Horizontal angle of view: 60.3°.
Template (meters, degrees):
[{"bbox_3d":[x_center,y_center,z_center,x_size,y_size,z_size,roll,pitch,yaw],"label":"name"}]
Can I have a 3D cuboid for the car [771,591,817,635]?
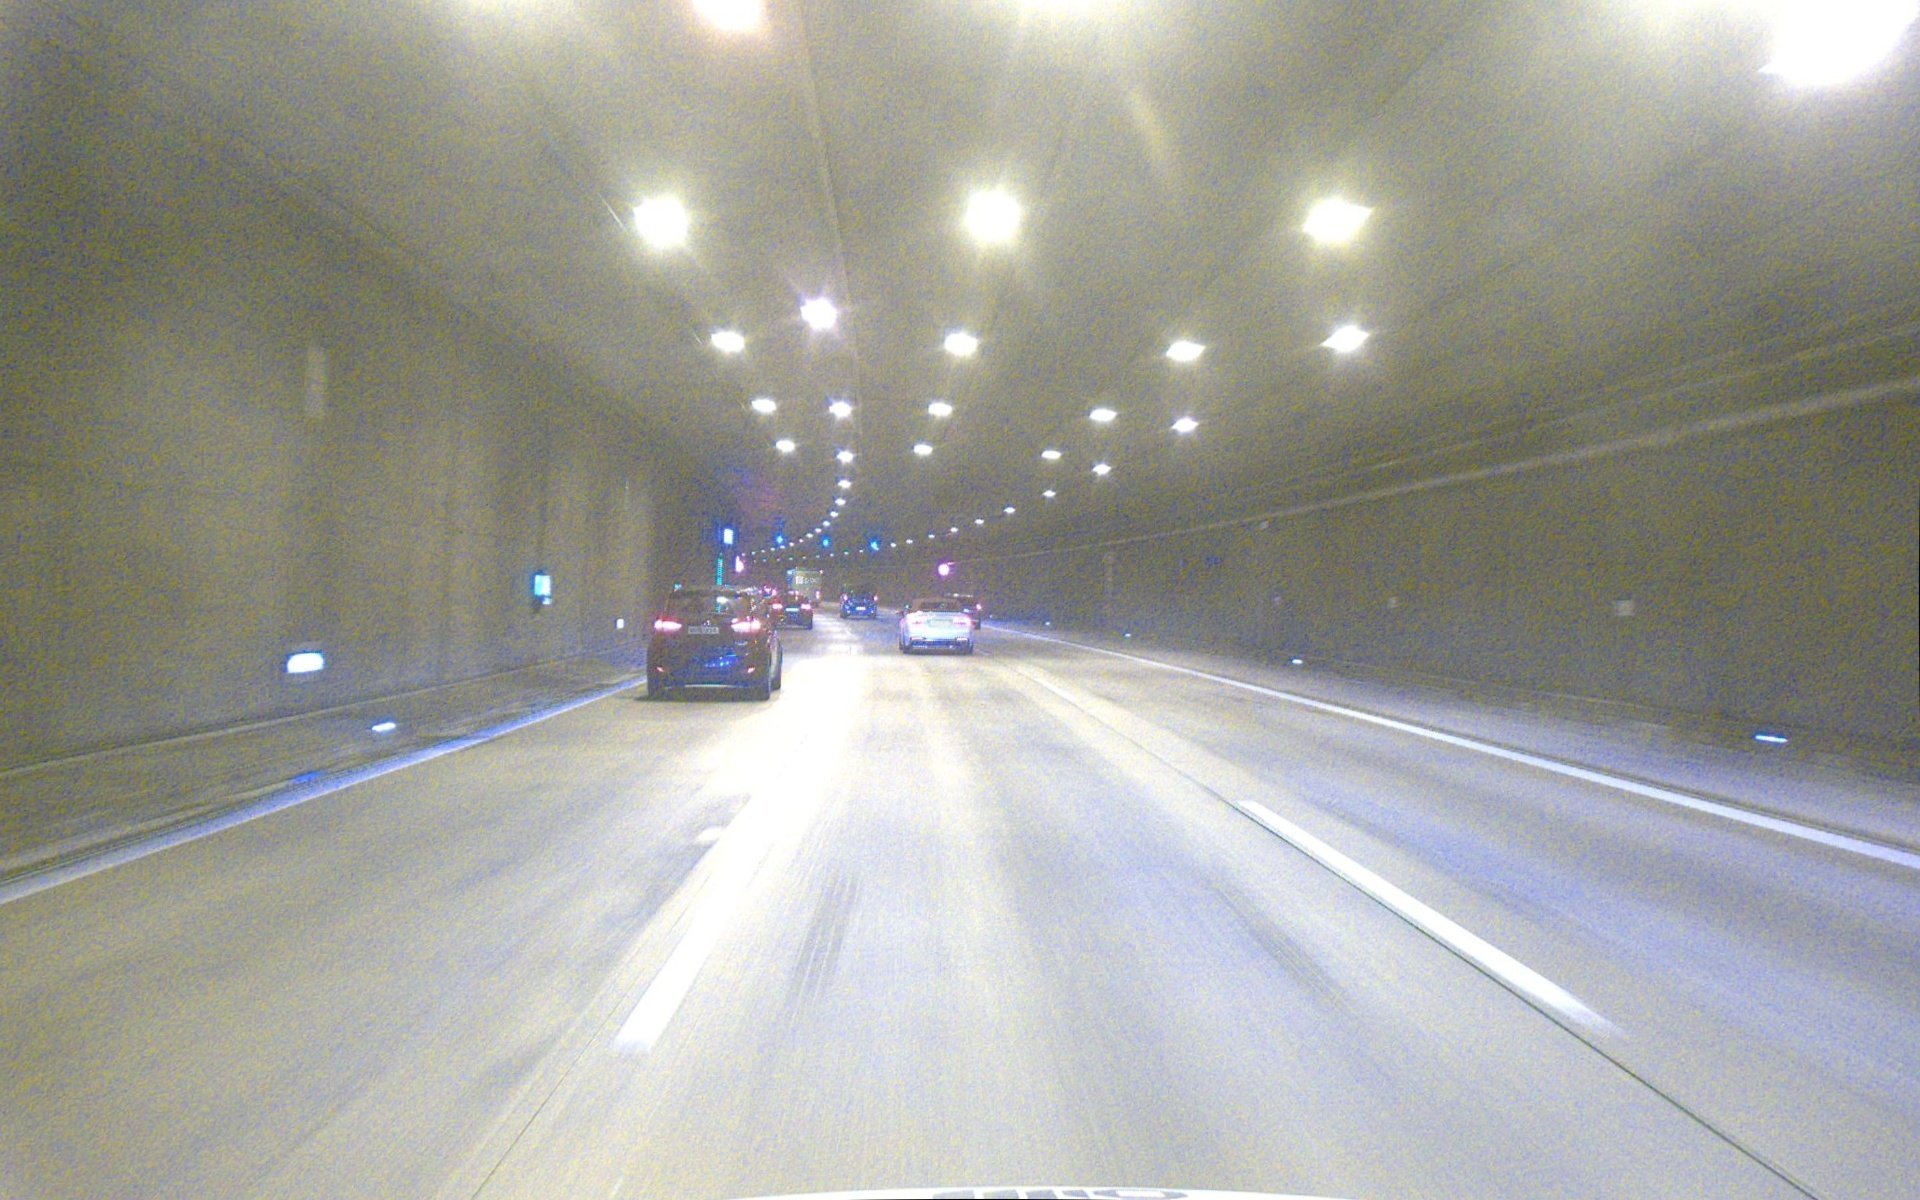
[{"bbox_3d":[-6.802,0.516,67.888,1.765,1.713,3.996,1,0,-5],"label":"car"}]

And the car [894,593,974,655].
[{"bbox_3d":[-0.617,0.584,42.909,1.952,1.509,4.000,1,0,0],"label":"car"}]

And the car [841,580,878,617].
[{"bbox_3d":[-5.595,-0.094,91.584,1.954,2.006,3.997,1,0,-4],"label":"car"}]

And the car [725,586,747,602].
[{"bbox_3d":[-23.510,-0.640,173.302,1.958,1.557,3.988,2,0,-12],"label":"car"}]

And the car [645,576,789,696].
[{"bbox_3d":[-3.549,0.490,24.740,1.750,1.626,3.799,1,0,-3],"label":"car"}]

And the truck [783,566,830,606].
[{"bbox_3d":[-13.074,-1.240,140.283,3.027,3.167,10.006,2,1,-10],"label":"truck"}]

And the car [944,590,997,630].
[{"bbox_3d":[0.426,0.424,72.087,1.804,1.630,3.994,1,0,-7],"label":"car"}]

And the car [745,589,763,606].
[{"bbox_3d":[-23.713,-0.276,190.340,1.957,1.785,3.992,2,0,-9],"label":"car"}]
